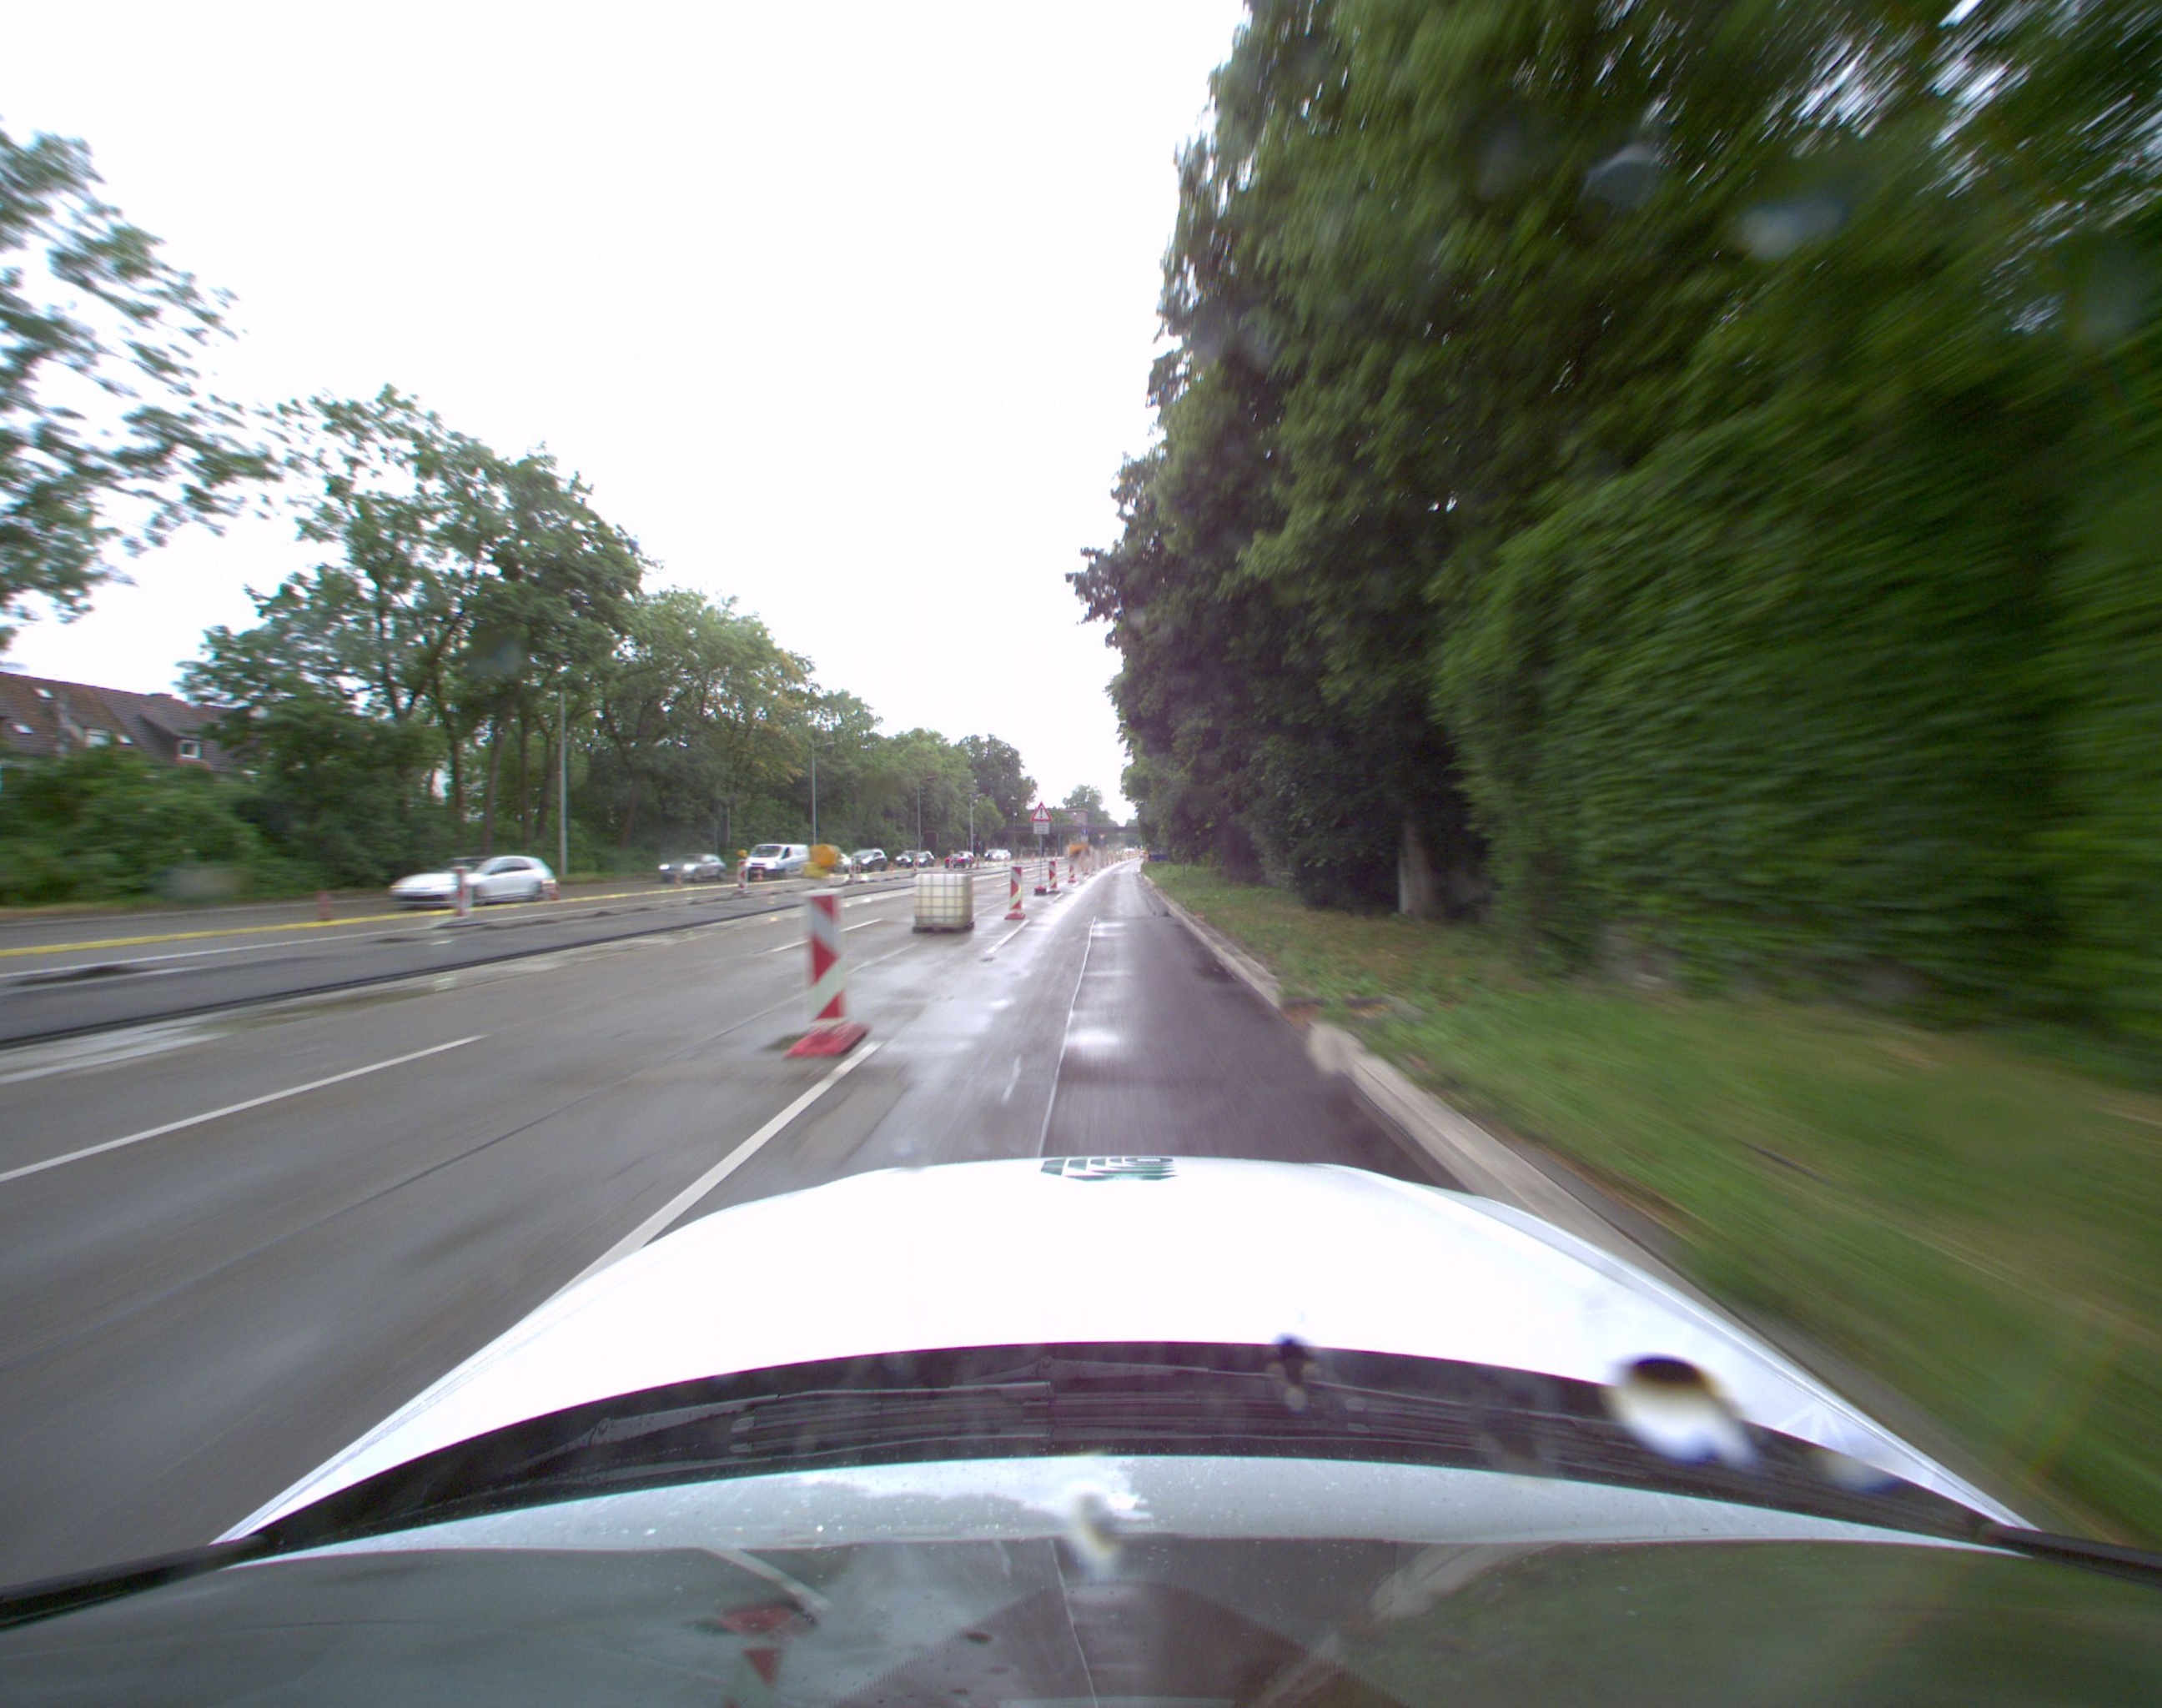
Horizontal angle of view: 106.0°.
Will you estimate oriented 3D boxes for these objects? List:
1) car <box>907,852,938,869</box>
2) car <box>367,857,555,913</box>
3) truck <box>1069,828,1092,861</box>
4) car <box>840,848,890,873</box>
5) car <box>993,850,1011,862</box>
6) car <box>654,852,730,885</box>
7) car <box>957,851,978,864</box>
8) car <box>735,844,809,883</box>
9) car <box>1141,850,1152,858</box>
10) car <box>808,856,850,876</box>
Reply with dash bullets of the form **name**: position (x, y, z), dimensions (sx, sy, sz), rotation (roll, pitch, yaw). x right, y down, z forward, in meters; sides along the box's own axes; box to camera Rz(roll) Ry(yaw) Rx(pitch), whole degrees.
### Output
- **car**: position (-14.424, 0.538, 74.537), dimensions (1.769, 1.487, 4.201), rotation (0, 0, 3)
- **car**: position (-17.744, 0.823, 23.631), dimensions (1.986, 1.416, 4.394), rotation (-2, 0, 1)
- **truck**: position (0.018, -1.274, 111.009), dimensions (2.887, 4.259, 10.758), rotation (0, 0, 1)
- **car**: position (-15.735, 0.419, 59.589), dimensions (2.013, 1.725, 5.017), rotation (0, 0, 3)
- **car**: position (-11.149, 0.292, 115.005), dimensions (1.882, 1.661, 4.897), rotation (0, 0, 3)
- **car**: position (-19.600, 0.690, 41.263), dimensions (1.820, 1.621, 4.002), rotation (0, 0, 2)
- **car**: position (-12.953, 0.414, 93.242), dimensions (1.672, 1.400, 4.016), rotation (0, 0, 3)
- **car**: position (-16.538, 0.476, 43.881), dimensions (1.986, 1.972, 4.904), rotation (0, 0, 1)
- **car**: position (13.668, 0.045, 169.743), dimensions (1.983, 1.640, 4.007), rotation (-2, 0, 6)
- **car**: position (-18.559, 0.864, 60.114), dimensions (1.638, 1.420, 4.004), rotation (0, 0, 3)
